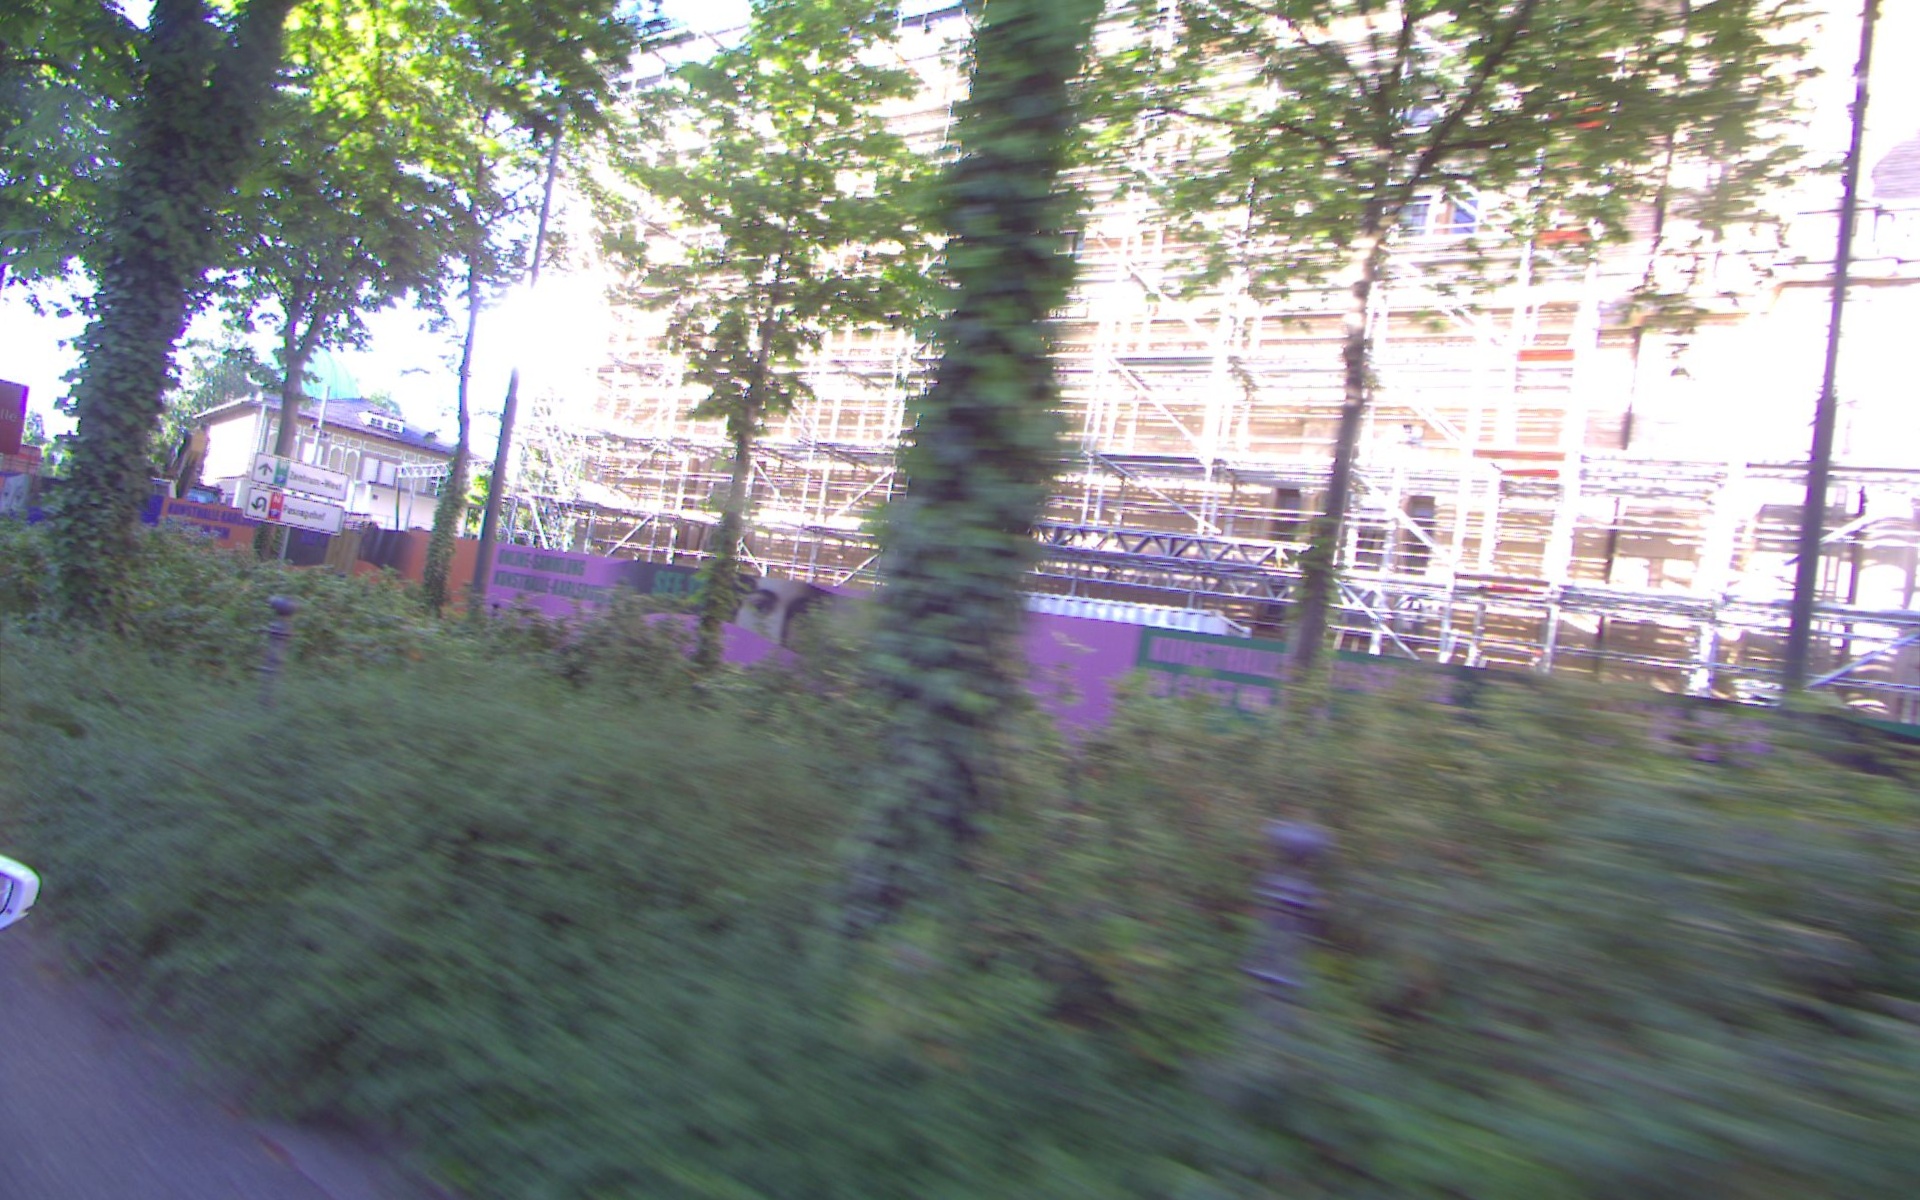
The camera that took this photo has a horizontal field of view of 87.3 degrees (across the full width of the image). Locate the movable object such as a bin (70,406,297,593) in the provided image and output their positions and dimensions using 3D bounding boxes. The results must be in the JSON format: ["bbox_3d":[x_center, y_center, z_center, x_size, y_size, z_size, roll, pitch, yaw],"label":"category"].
[{"bbox_3d":[-23.754,-3.043,30.598,7.790,4.590,3.308,7,-2,39],"label":"movable object such as a bin"}]
